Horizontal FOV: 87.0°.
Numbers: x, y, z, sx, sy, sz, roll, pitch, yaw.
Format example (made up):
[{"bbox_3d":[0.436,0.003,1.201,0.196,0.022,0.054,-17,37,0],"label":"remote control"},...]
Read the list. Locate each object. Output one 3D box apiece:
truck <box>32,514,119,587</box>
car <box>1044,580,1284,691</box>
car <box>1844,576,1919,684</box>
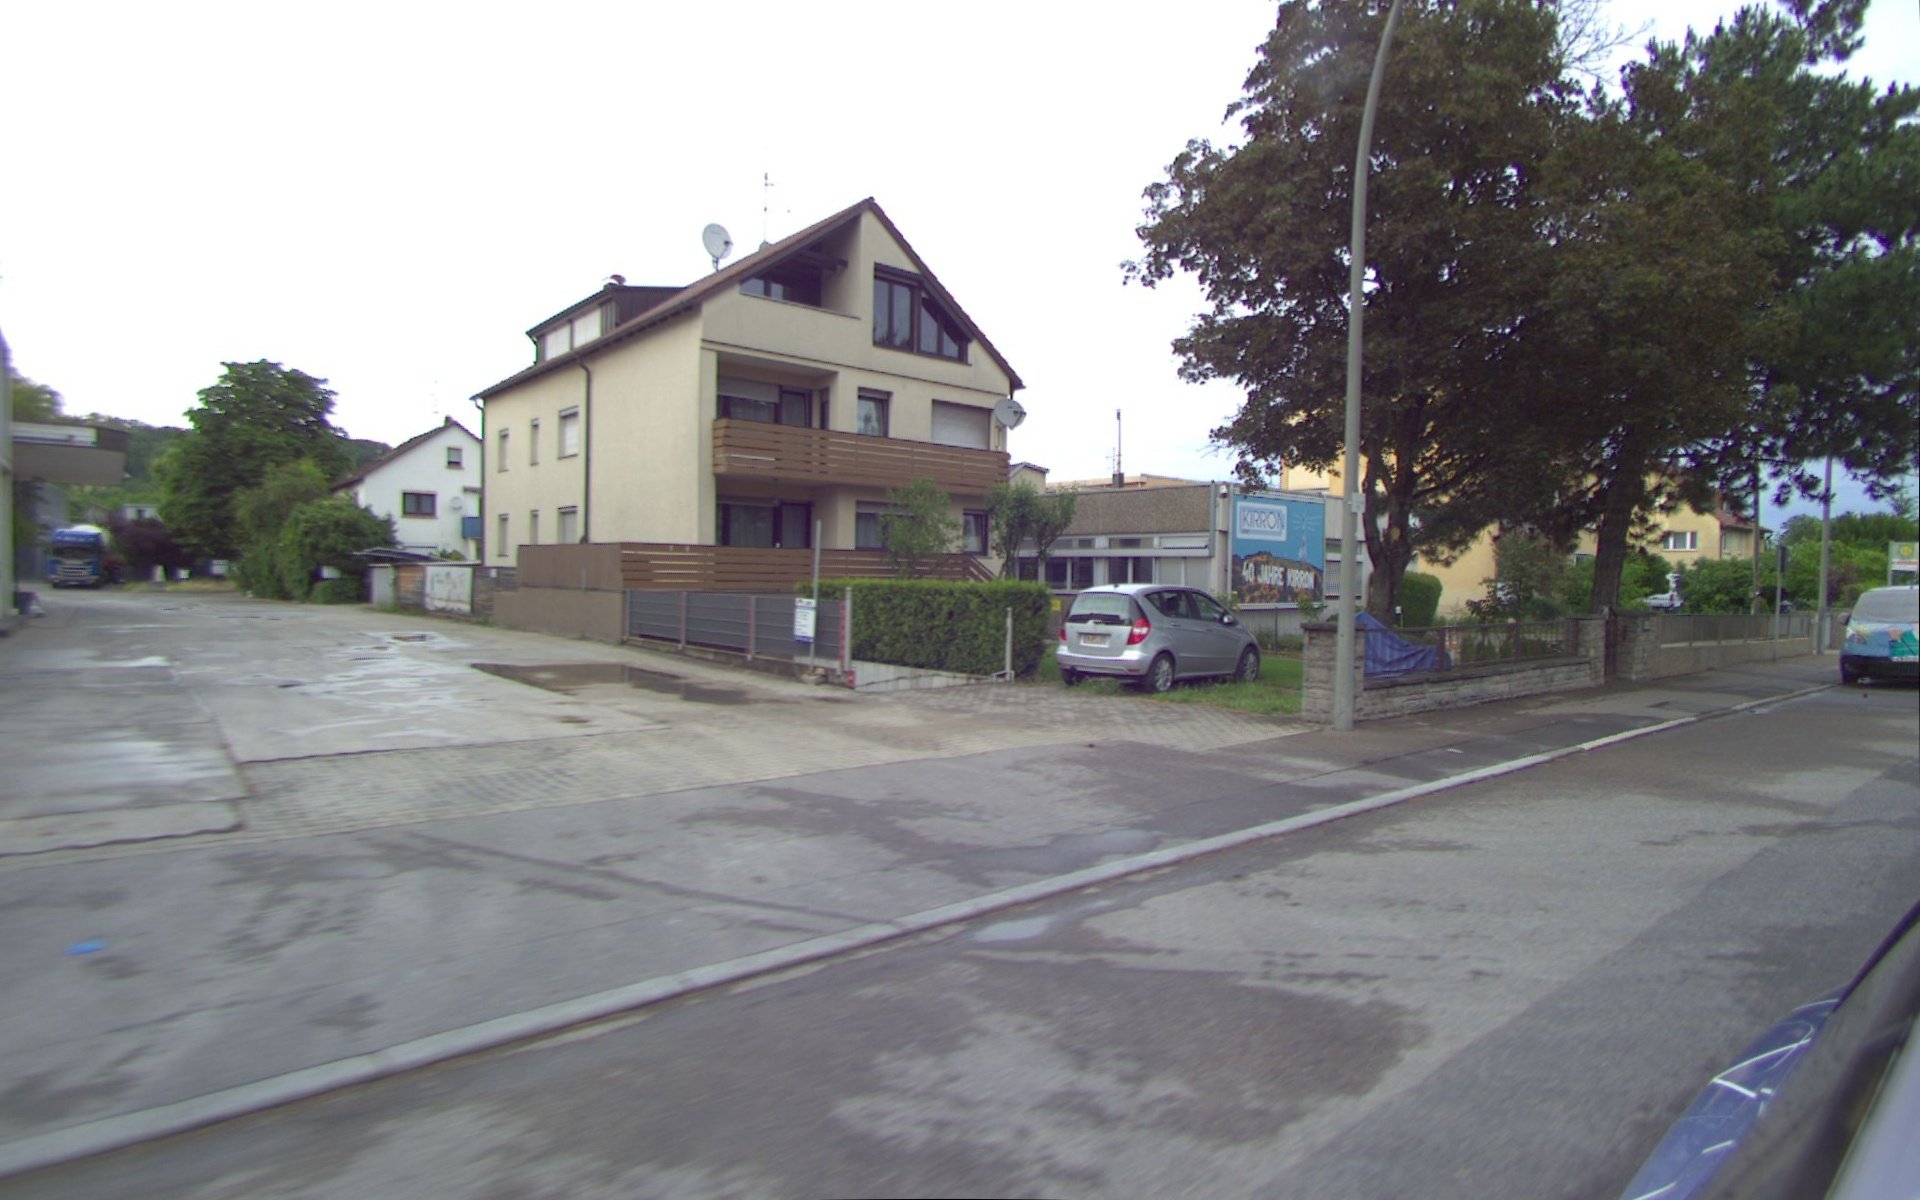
[{"bbox_3d":[-58.496,-3.072,67.048,4.095,4.433,9.935,0,0,-41],"label":"truck"},{"bbox_3d":[3.309,0.466,15.947,4.051,1.506,1.745,0,2,-45],"label":"car"},{"bbox_3d":[18.612,0.514,19.275,5.452,1.851,1.735,0,-1,-39],"label":"car"}]
